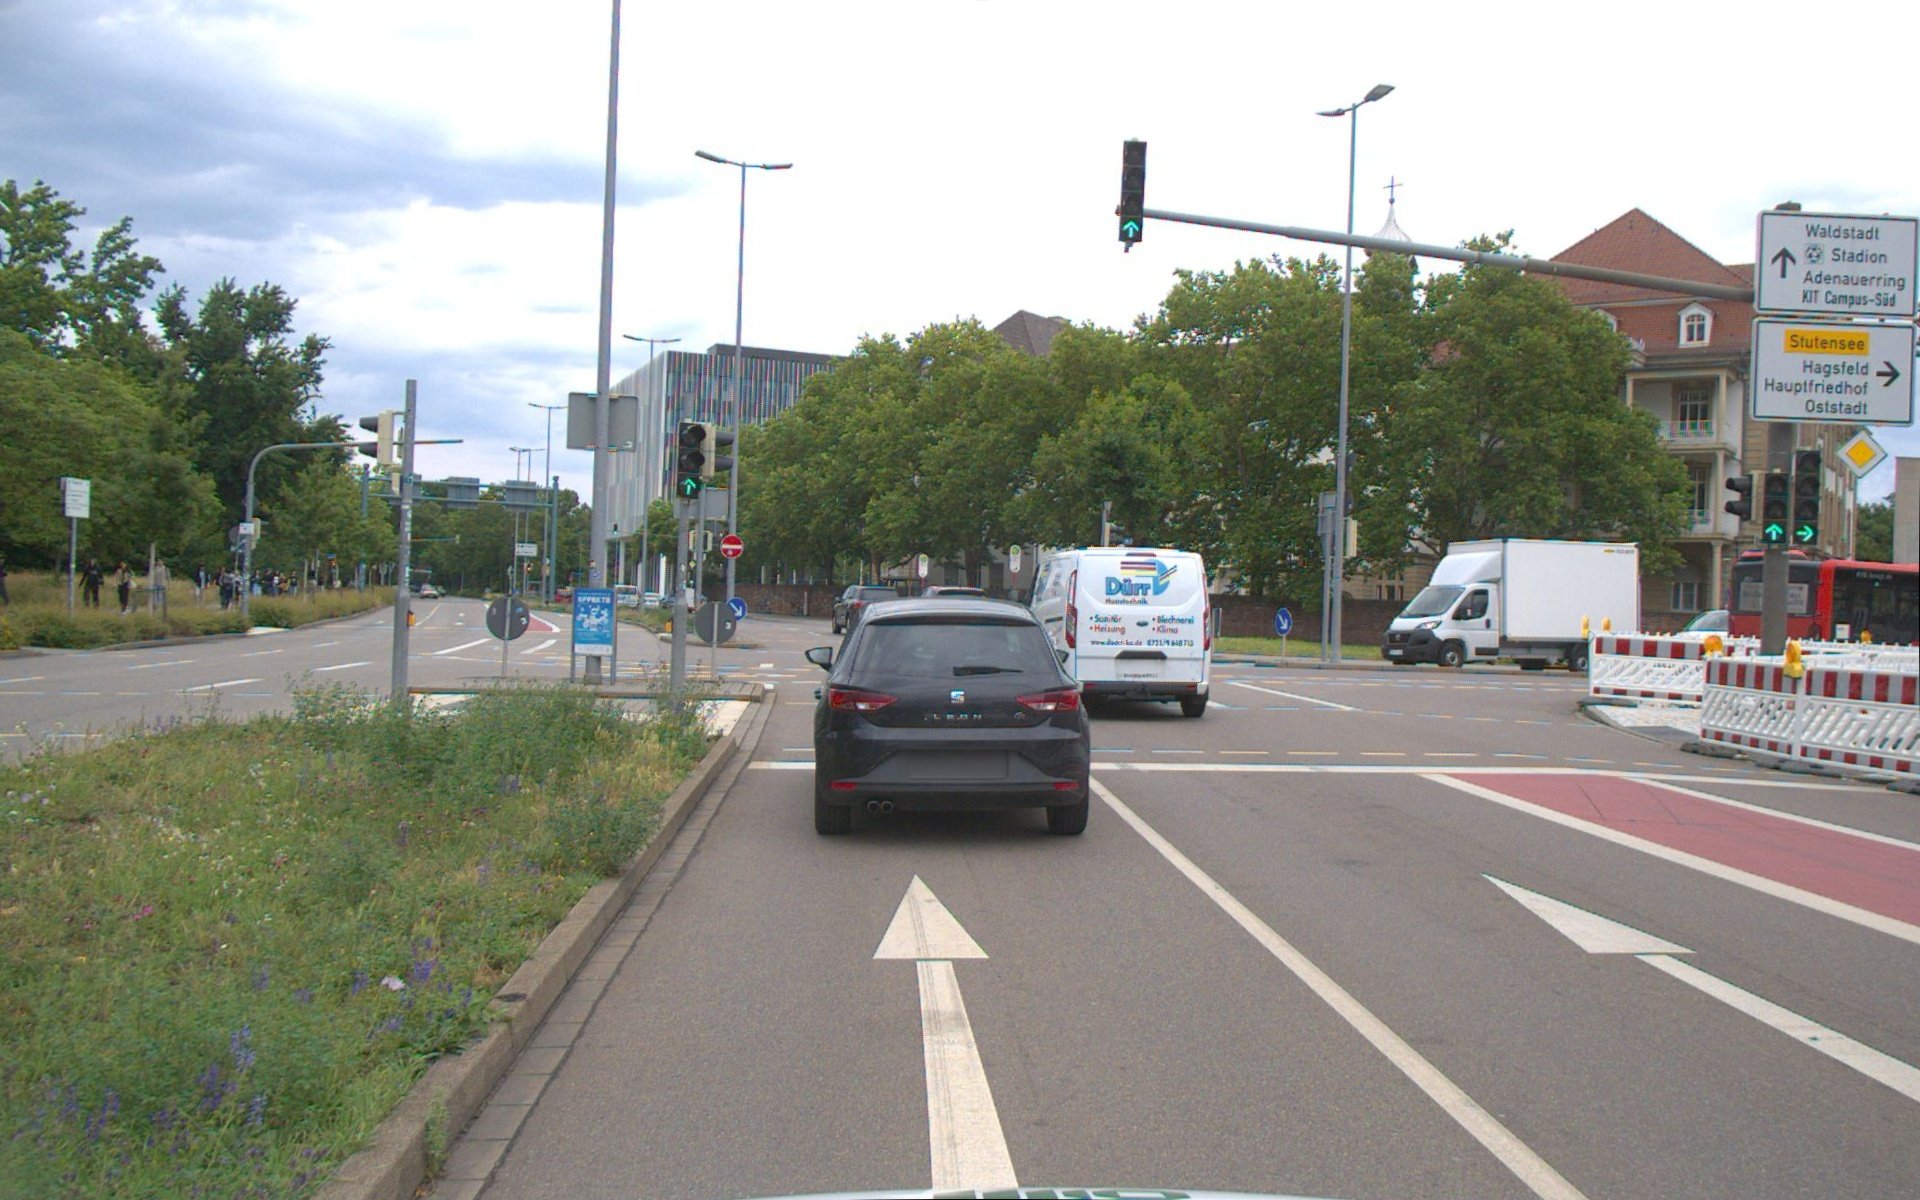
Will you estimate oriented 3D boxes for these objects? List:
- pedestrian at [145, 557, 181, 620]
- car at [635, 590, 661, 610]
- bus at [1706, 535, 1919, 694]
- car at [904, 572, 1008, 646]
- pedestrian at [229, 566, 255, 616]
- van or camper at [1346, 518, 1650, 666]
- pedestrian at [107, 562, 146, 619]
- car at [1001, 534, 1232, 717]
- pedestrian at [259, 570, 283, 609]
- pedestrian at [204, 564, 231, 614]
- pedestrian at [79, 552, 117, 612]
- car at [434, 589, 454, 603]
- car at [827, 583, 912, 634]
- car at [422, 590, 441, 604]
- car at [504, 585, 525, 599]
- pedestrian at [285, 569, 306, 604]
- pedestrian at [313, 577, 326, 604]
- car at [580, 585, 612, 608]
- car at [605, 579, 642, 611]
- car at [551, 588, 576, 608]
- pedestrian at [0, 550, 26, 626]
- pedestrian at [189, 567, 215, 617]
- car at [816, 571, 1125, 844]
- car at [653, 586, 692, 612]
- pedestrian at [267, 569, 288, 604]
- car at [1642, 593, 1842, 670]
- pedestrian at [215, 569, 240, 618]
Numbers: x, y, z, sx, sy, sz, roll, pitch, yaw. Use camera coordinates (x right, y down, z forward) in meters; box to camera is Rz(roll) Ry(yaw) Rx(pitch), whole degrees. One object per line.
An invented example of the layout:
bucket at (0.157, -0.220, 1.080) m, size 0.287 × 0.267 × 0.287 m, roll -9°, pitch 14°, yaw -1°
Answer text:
pedestrian at (-26.443, -0.392, 54.880) m, size 0.741 × 2.049 × 1.045 m, roll 2°, pitch 0°, yaw -8°
car at (-23.085, -0.019, 122.330) m, size 1.502 × 1.389 × 2.953 m, roll 2°, pitch 0°, yaw -19°
bus at (23.238, 0.483, 39.251) m, size 12.187 × 3.355 × 3.043 m, roll 2°, pitch 0°, yaw -27°
car at (-0.165, 0.203, 39.885) m, size 1.824 × 1.628 × 4.195 m, roll 2°, pitch 0°, yaw -9°
pedestrian at (-30.132, -0.385, 69.398) m, size 0.741 × 2.049 × 1.044 m, roll 2°, pitch 0°, yaw -11°
van or camper at (13.477, -0.119, 41.455) m, size 7.026 × 3.391 × 2.859 m, roll 2°, pitch -2°, yaw -21°
pedestrian at (-25.870, -0.283, 51.340) m, size 0.741 × 1.742 × 1.045 m, roll 2°, pitch 0°, yaw -8°
car at (1.876, 0.291, 21.507) m, size 1.955 × 2.054 × 5.025 m, roll 2°, pitch 0°, yaw -6°
pedestrian at (-32.701, -0.483, 78.534) m, size 0.903 × 1.810 × 1.059 m, roll 2°, pitch 0°, yaw -16°
pedestrian at (-30.977, -0.470, 69.040) m, size 0.741 × 2.049 × 1.044 m, roll 2°, pitch 0°, yaw -11°
pedestrian at (-26.622, -0.554, 51.090) m, size 0.741 × 1.796 × 0.904 m, roll 2°, pitch 0°, yaw -8°
car at (-70.445, -0.563, 225.903) m, size 1.970 × 1.811 × 3.964 m, roll 2°, pitch 0°, yaw -27°
car at (-3.085, 0.266, 55.515) m, size 1.961 × 1.593 × 4.187 m, roll 2°, pitch 0°, yaw -16°
car at (-58.923, -0.378, 184.429) m, size 1.664 × 1.440 × 3.616 m, roll 2°, pitch 0°, yaw -24°
car at (-42.859, -0.752, 159.208) m, size 1.686 × 1.287 × 3.321 m, roll 2°, pitch 0°, yaw -19°
pedestrian at (-35.630, -0.722, 88.738) m, size 0.903 × 1.809 × 1.060 m, roll 2°, pitch 3°, yaw -16°
pedestrian at (-49.173, -0.714, 126.984) m, size 0.709 × 2.049 × 0.780 m, roll 2°, pitch -1°, yaw -11°
car at (-27.862, -0.296, 126.528) m, size 1.964 × 1.668 × 3.978 m, roll 2°, pitch 0°, yaw -19°
car at (-23.135, -0.357, 113.627) m, size 1.963 × 2.049 × 3.978 m, roll 2°, pitch 0°, yaw -19°
car at (-36.112, -0.184, 150.686) m, size 1.963 × 1.711 × 3.991 m, roll 2°, pitch 0°, yaw -17°
pedestrian at (-26.201, -0.340, 45.255) m, size 0.741 × 2.049 × 1.045 m, roll 2°, pitch 0°, yaw -8°
pedestrian at (-29.515, -0.307, 64.400) m, size 0.701 × 1.903 × 0.755 m, roll 2°, pitch 0°, yaw -12°
car at (-0.105, 0.649, 11.441) m, size 1.712 × 1.489 × 3.995 m, roll 3°, pitch -1°, yaw -5°
car at (-19.409, -0.074, 111.568) m, size 1.890 × 1.713 × 3.975 m, roll 2°, pitch 0°, yaw -21°
pedestrian at (-36.522, -0.733, 88.483) m, size 0.903 × 1.809 × 1.060 m, roll 2°, pitch 3°, yaw -16°
car at (20.914, 0.888, 44.258) m, size 4.915 × 1.897 × 1.988 m, roll 2°, pitch -3°, yaw -21°
pedestrian at (-28.651, -0.260, 64.677) m, size 0.701 × 1.903 × 0.755 m, roll 2°, pitch 0°, yaw -12°
